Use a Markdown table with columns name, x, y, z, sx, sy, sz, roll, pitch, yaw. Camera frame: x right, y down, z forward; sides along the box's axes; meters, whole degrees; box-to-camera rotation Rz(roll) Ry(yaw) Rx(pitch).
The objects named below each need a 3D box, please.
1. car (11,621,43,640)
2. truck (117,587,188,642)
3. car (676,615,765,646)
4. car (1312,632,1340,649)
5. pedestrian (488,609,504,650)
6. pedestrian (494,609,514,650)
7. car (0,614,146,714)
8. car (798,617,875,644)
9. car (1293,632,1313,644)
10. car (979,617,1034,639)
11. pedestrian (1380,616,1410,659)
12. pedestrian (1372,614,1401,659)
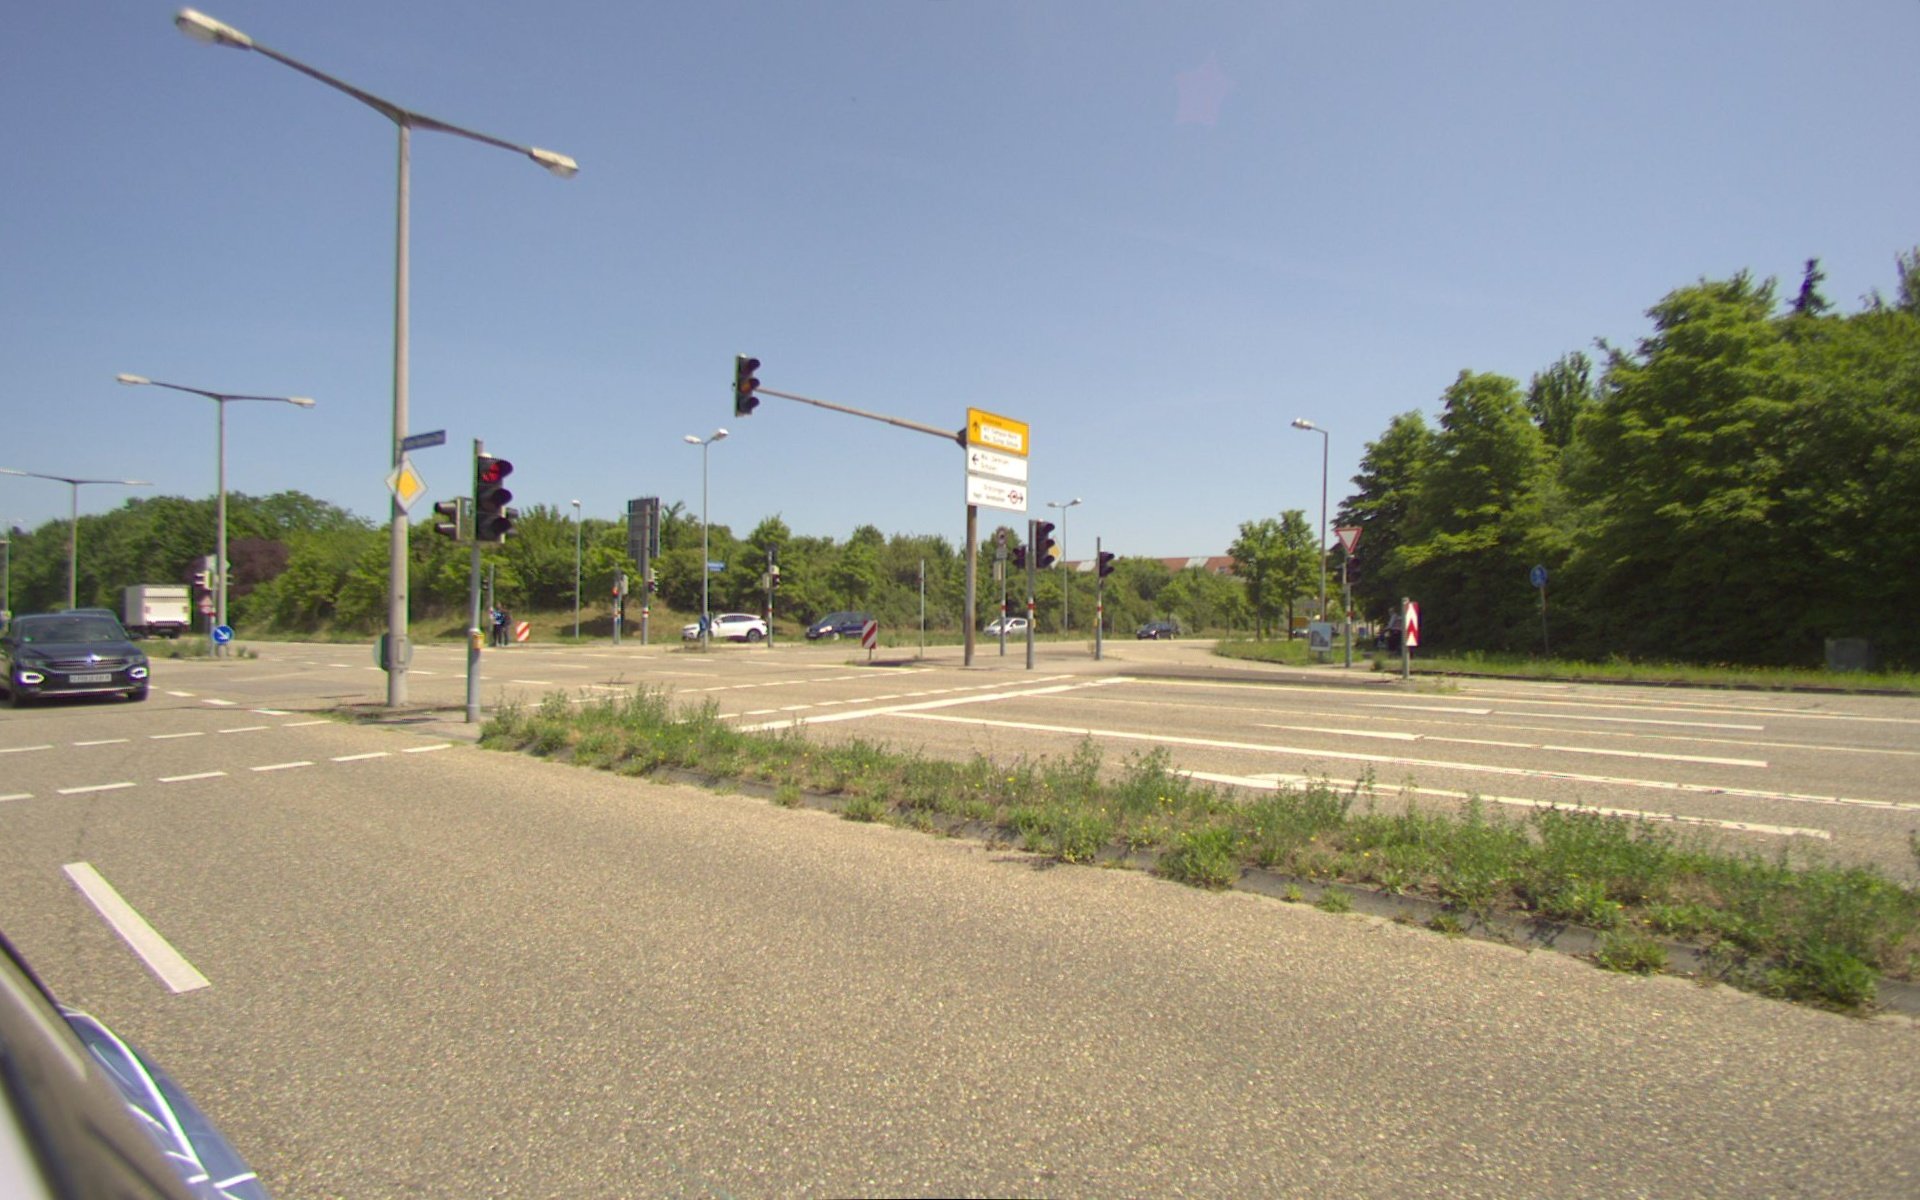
| name | x | y | z | sx | sy | sz | roll | pitch | yaw |
| --- | --- | --- | --- | --- | --- | --- | --- | --- | --- |
| car | -82.373 | 2.673 | 89.325 | 4.222 | 1.676 | 1.688 | -2 | -2 | 42 |
| truck | -55.450 | 1.027 | 69.433 | 7.265 | 3.597 | 2.659 | -1 | -1 | 42 |
| car | -12.729 | 1.656 | 53.822 | 4.237 | 1.513 | 1.884 | 2 | -5 | -34 |
| car | 32.833 | 3.600 | 90.658 | 1.734 | 1.431 | 3.960 | -1 | -2 | 29 |
| pedestrian | -19.945 | 1.264 | 43.489 | 0.573 | 1.749 | 0.795 | 0 | -1 | -29 |
| pedestrian | -19.299 | 1.256 | 42.810 | 0.712 | 1.712 | 0.777 | 0 | -1 | -29 |
| car | -15.862 | 1.047 | 17.875 | 3.970 | 1.523 | 1.716 | -1 | 0 | 42 |
| car | -6.330 | 1.562 | 52.210 | 1.700 | 1.346 | 3.949 | -1 | -2 | 37 |
| car | 39.517 | 4.374 | 116.540 | 1.289 | 1.133 | 3.171 | -1 | 1 | 35 |
| car | 2.994 | 1.789 | 64.819 | 1.630 | 1.371 | 3.951 | -1 | -2 | 36 |
| pedestrian | 15.382 | 1.314 | 35.776 | 0.789 | 1.515 | 0.616 | 0 | -2 | 6 |
| pedestrian | 15.529 | 1.337 | 36.838 | 0.789 | 1.615 | 0.616 | 0 | -2 | 6 |
